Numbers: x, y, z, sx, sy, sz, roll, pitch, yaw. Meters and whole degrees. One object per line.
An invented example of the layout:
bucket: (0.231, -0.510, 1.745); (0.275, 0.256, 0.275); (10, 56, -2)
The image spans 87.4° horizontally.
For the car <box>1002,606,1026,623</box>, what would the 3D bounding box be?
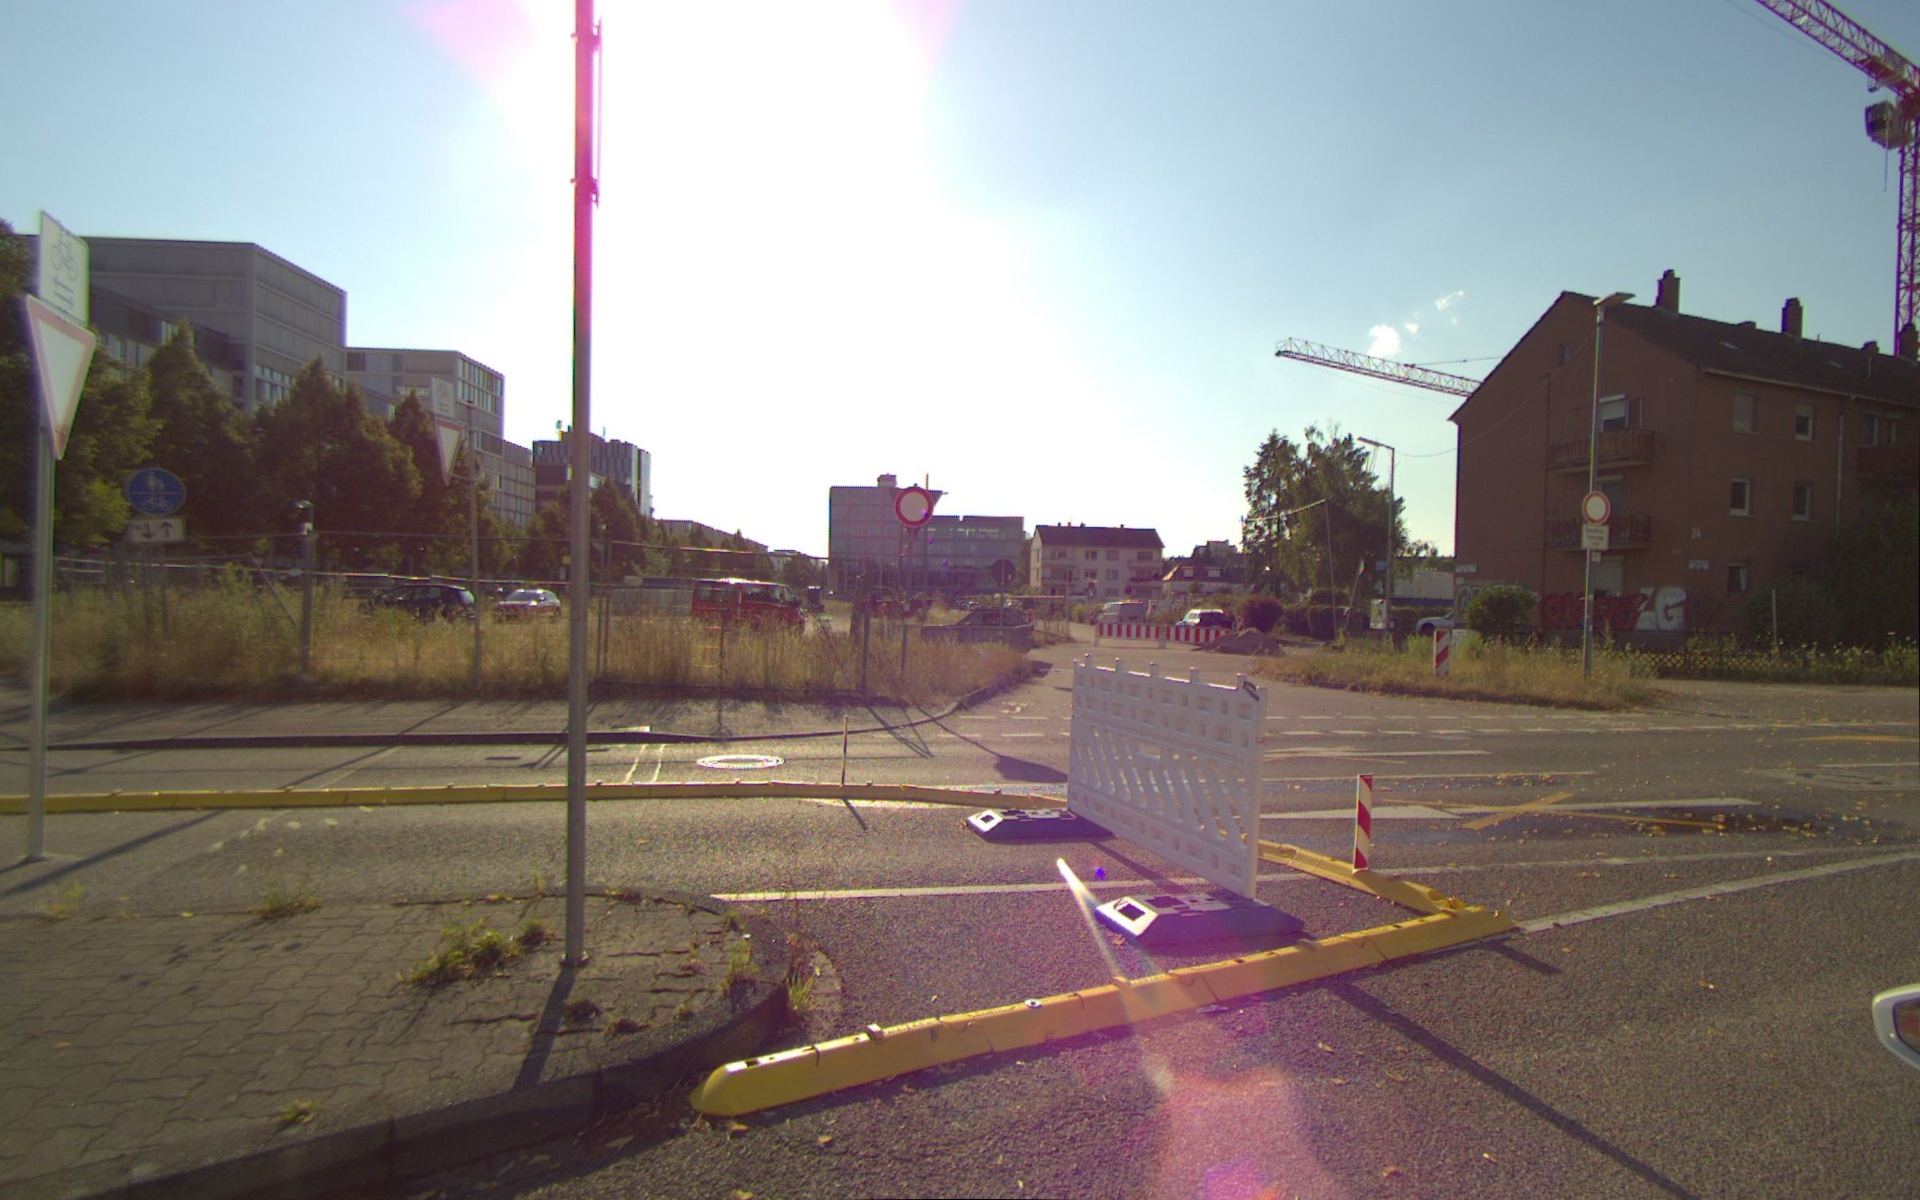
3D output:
car: (6.196, 1.693, 115.948); (2.112, 1.862, 4.359); (2, 0, -4)

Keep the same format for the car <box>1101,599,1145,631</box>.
car: (10.553, 0.923, 65.343); (1.833, 1.974, 3.996); (1, 0, -6)

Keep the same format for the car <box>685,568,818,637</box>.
car: (-6.674, 0.083, 32.893); (1.960, 2.040, 5.315); (1, 0, 17)

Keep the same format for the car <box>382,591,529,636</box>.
car: (-16.979, 0.455, 34.046); (4.179, 1.381, 1.991); (1, 0, -19)

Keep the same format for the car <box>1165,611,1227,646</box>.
car: (11.570, 1.382, 49.502); (1.961, 1.573, 3.999); (1, 0, -2)

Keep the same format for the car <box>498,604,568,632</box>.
car: (-19.245, 0.778, 45.418); (1.305, 1.182, 3.936); (2, 0, 3)

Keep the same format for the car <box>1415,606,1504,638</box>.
car: (26.638, 1.174, 53.602); (3.935, 1.550, 1.993); (2, 0, 37)
